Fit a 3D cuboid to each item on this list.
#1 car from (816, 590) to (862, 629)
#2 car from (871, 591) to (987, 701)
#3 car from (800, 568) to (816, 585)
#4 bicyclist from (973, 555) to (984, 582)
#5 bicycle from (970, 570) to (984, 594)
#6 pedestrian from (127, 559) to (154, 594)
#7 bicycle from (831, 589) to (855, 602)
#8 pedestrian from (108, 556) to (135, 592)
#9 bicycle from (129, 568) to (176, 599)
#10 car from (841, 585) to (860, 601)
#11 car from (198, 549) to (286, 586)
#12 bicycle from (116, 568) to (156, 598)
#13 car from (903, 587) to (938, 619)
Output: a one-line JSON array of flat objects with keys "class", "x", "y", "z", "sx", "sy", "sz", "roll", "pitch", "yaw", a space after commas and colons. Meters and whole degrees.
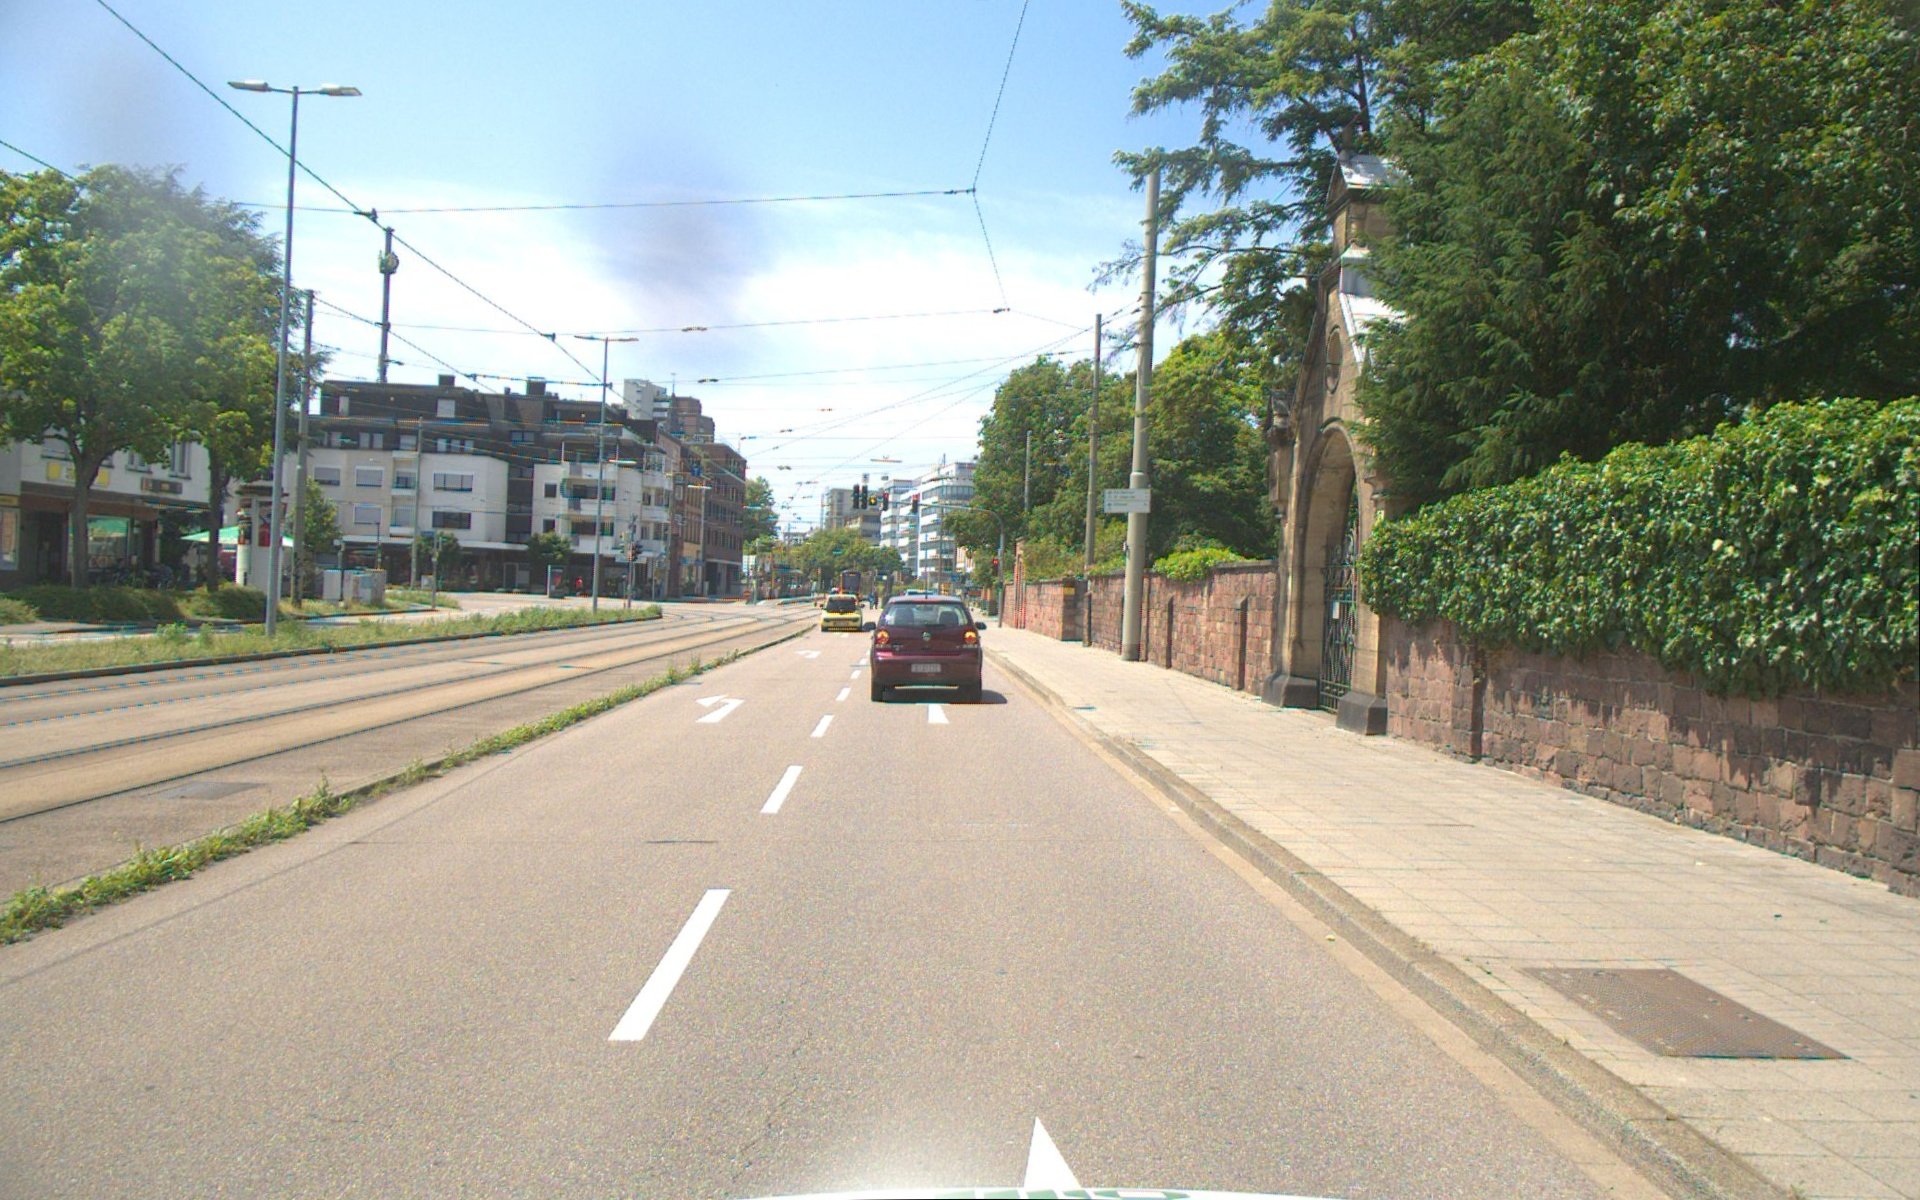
[{"class": "car", "x": -4.788, "y": 0.372, "z": 65.870, "sx": 1.689, "sy": 1.470, "sz": 3.291, "roll": 0, "pitch": 1, "yaw": -2}, {"class": "car", "x": -0.492, "y": 0.614, "z": 24.570, "sx": 1.577, "sy": 1.489, "sz": 4.084, "roll": 0, "pitch": 0, "yaw": -2}, {"class": "car", "x": -19.706, "y": -3.029, "z": 214.747, "sx": 1.700, "sy": 2.049, "sz": 3.999, "roll": 2, "pitch": 0, "yaw": -2}, {"class": "bicyclist", "x": 1.297, "y": -2.183, "z": 114.799, "sx": 0.707, "sy": 1.850, "sz": 0.888, "roll": 1, "pitch": -1, "yaw": -2}, {"class": "bicycle", "x": 1.184, "y": -1.242, "z": 115.307, "sx": 0.818, "sy": 1.552, "sz": 3.999, "roll": 1, "pitch": 0, "yaw": -1}, {"class": "pedestrian", "x": -30.344, "y": -0.859, "z": 61.219, "sx": 0.577, "sy": 1.291, "sz": 0.842, "roll": 1, "pitch": -1, "yaw": -2}, {"class": "bicycle", "x": -9.236, "y": -0.356, "z": 130.526, "sx": 1.829, "sy": 1.025, "sz": 0.578, "roll": 1, "pitch": -1, "yaw": -6}, {"class": "pedestrian", "x": -30.971, "y": -0.966, "z": 61.108, "sx": 0.577, "sy": 1.291, "sz": 0.842, "roll": 1, "pitch": -1, "yaw": -2}, {"class": "bicycle", "x": -27.191, "y": -0.557, "z": 55.712, "sx": 0.598, "sy": 0.996, "sz": 2.029, "roll": 1, "pitch": 0, "yaw": -1}, {"class": "car", "x": -11.788, "y": -0.752, "z": 177.644, "sx": 1.899, "sy": 1.670, "sz": 3.998, "roll": 1, "pitch": 0, "yaw": -2}, {"class": "car", "x": -49.291, "y": -2.211, "z": 113.629, "sx": 4.963, "sy": 2.382, "sz": 2.243, "roll": 1, "pitch": -1, "yaw": -3}, {"class": "bicycle", "x": -28.471, "y": -0.581, "z": 57.142, "sx": 0.527, "sy": 0.996, "sz": 1.758, "roll": 1, "pitch": 0, "yaw": -1}, {"class": "car", "x": -1.829, "y": 0.106, "z": 75.786, "sx": 1.541, "sy": 1.440, "sz": 3.718, "roll": 0, "pitch": 0, "yaw": -2}]
